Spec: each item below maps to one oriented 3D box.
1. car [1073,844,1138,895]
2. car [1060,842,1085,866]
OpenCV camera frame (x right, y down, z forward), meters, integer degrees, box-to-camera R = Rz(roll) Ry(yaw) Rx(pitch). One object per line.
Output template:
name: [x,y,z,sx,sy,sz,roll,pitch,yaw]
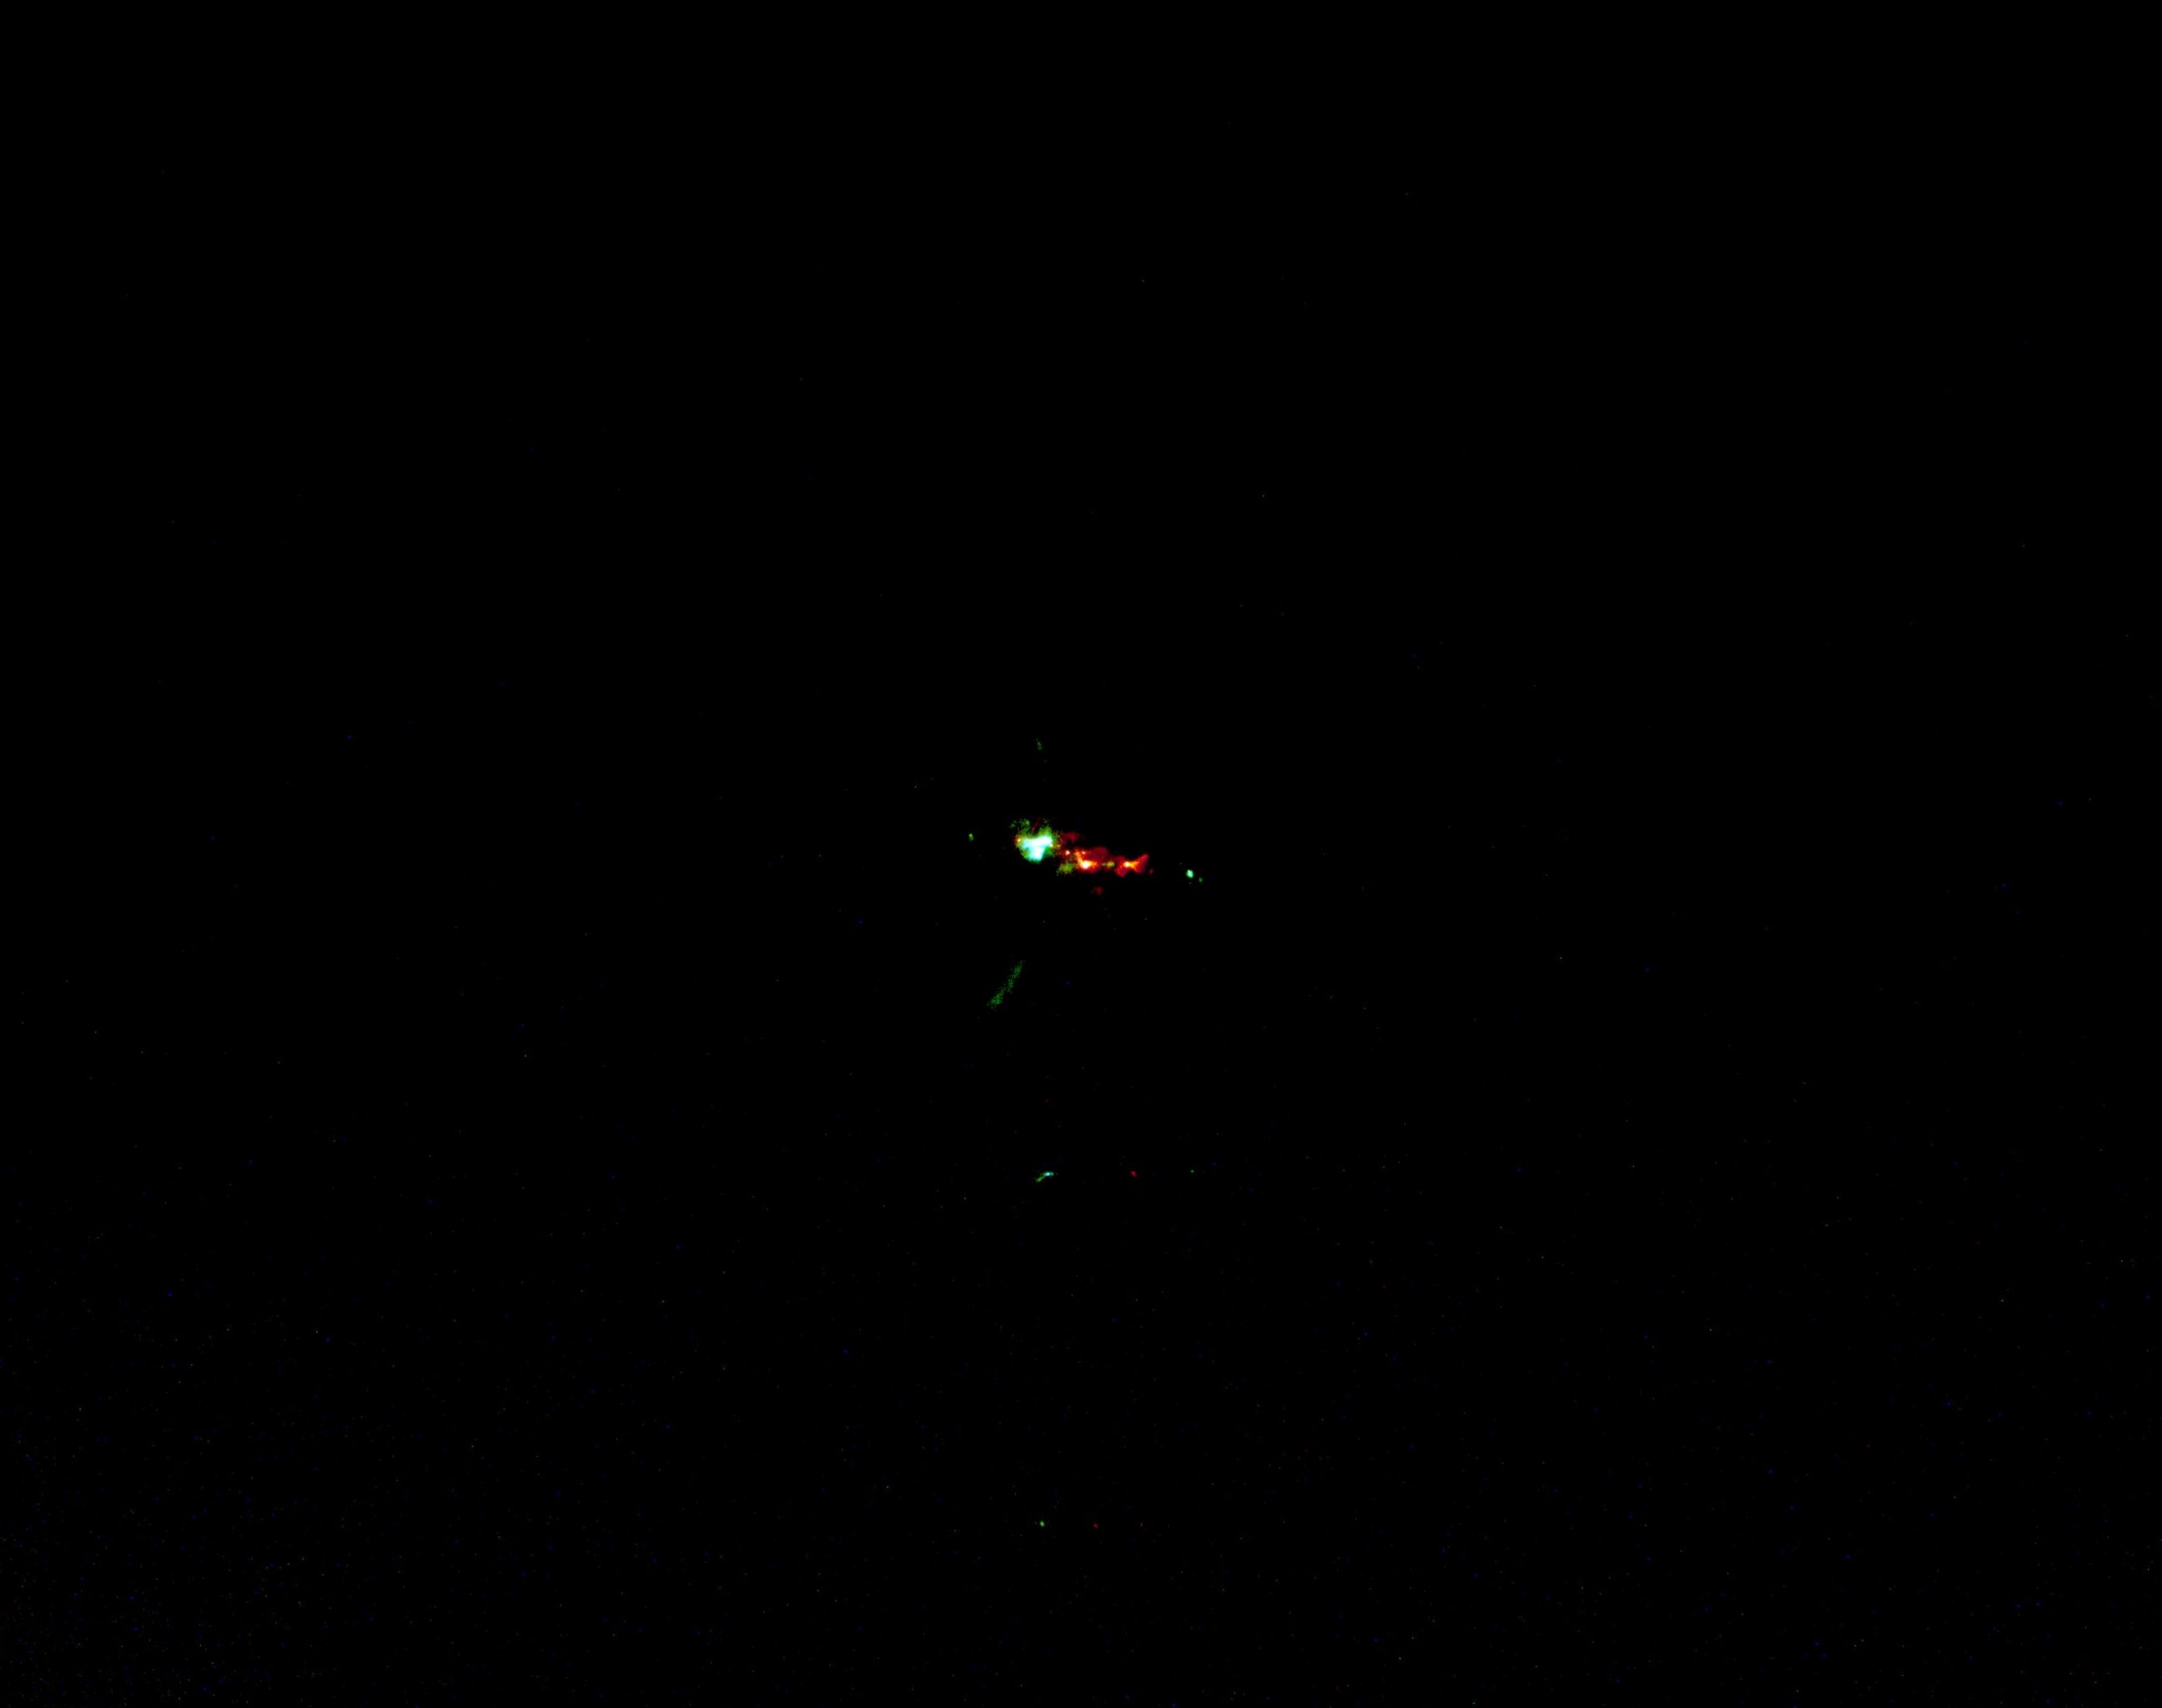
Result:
car: [0.901,0.586,33.502,2.450,1.958,4.909,0,0,-1]
car: [-0.768,-0.019,71.911,1.989,2.013,3.995,2,0,-3]
